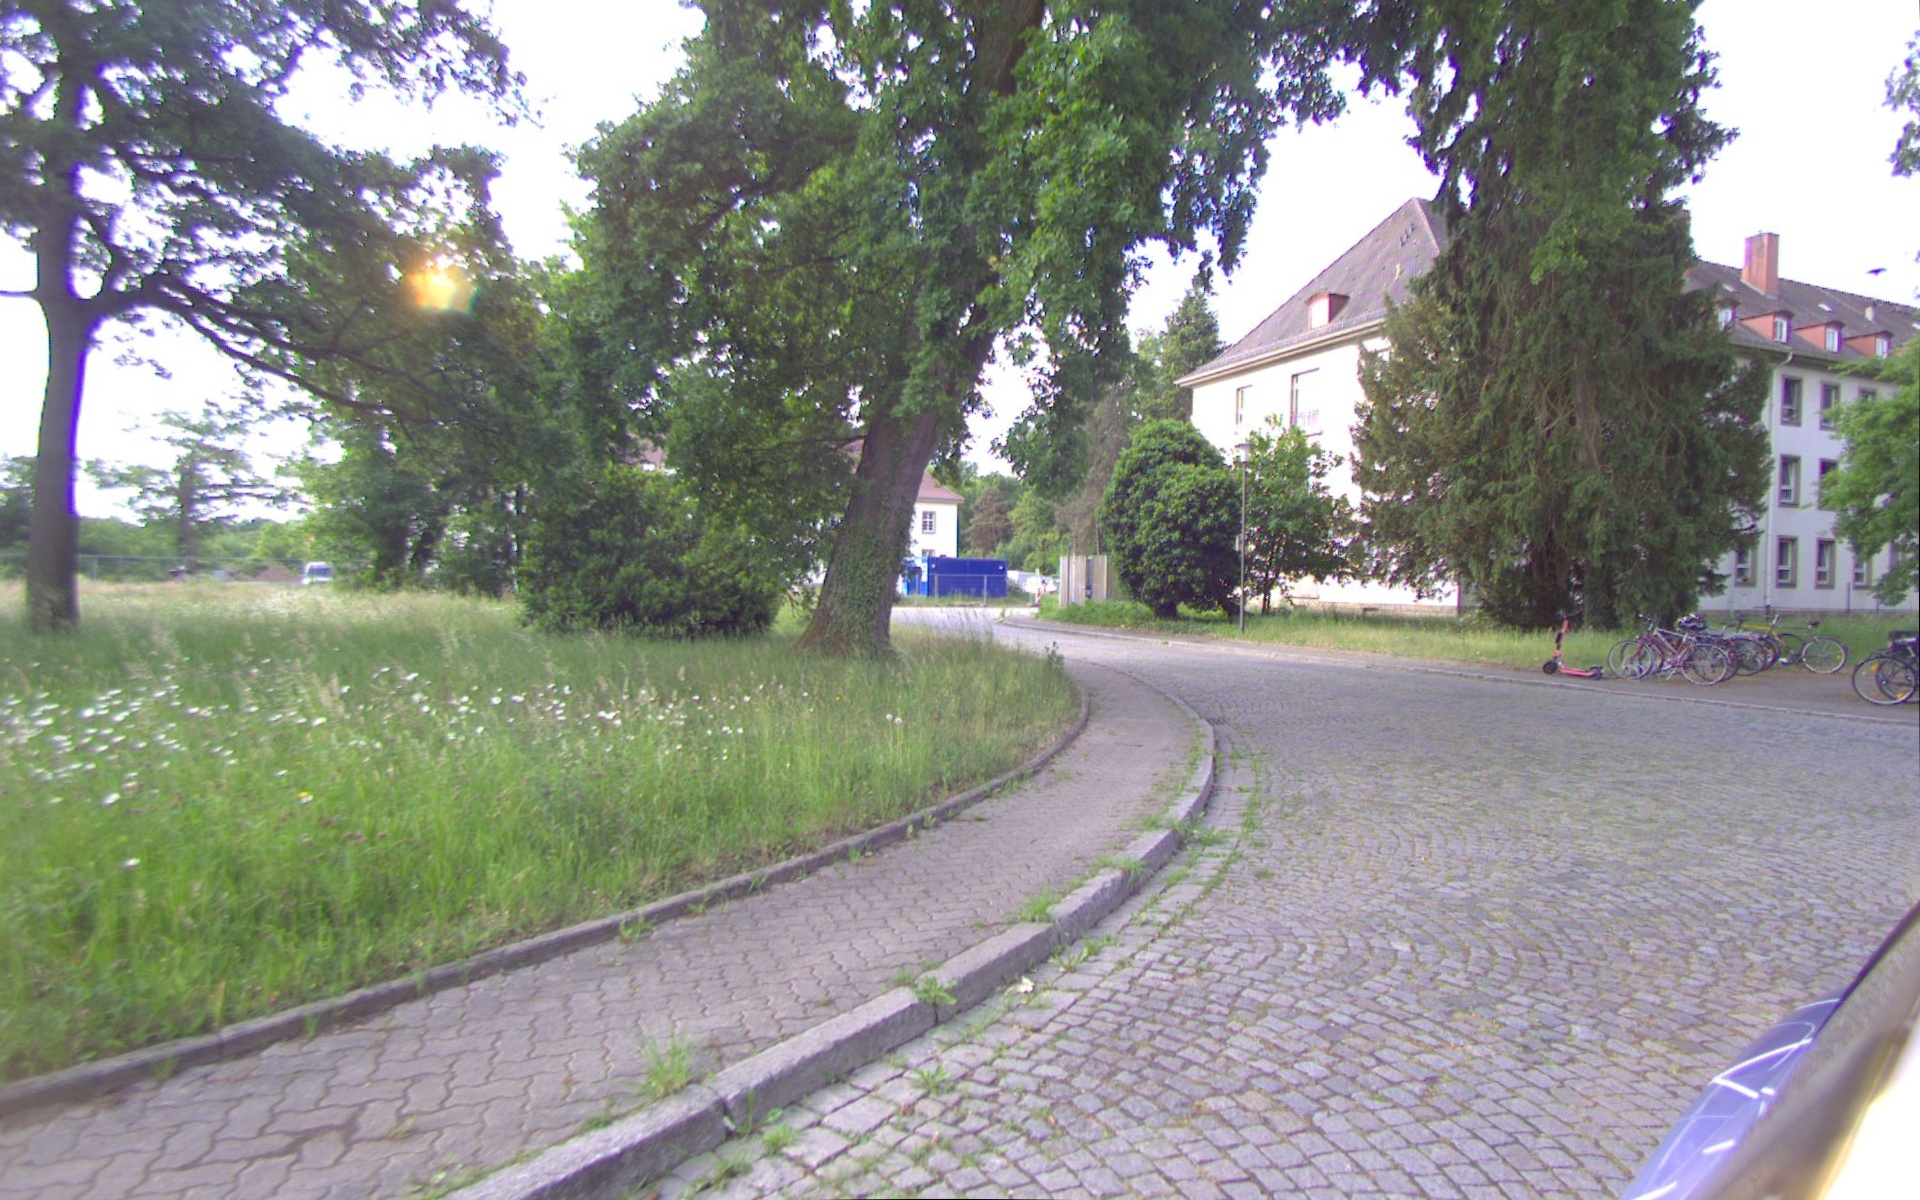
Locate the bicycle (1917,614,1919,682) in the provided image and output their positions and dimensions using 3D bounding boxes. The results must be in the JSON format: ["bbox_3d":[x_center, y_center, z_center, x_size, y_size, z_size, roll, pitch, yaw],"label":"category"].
[{"bbox_3d":[16.601,0.815,16.164,0.511,1.101,1.862,-3,4,-43],"label":"bicycle"}]

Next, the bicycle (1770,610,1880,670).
[{"bbox_3d":[16.580,0.743,19.422,1.561,1.047,0.469,2,2,44],"label":"bicycle"}]

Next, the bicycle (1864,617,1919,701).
[{"bbox_3d":[13.670,0.845,13.753,0.471,1.101,2.013,-3,4,-43],"label":"bicycle"}]

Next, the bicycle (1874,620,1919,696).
[{"bbox_3d":[14.064,0.848,14.034,0.471,1.022,2.013,-3,4,-43],"label":"bicycle"}]

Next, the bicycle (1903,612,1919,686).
[{"bbox_3d":[15.447,0.789,15.077,0.471,1.101,2.013,-3,4,-43],"label":"bicycle"}]

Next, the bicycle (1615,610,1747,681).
[{"bbox_3d":[12.447,0.760,17.517,1.806,1.101,0.472,2,4,41],"label":"bicycle"}]

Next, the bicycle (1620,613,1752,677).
[{"bbox_3d":[12.846,0.775,17.940,1.849,1.002,0.449,2,2,41],"label":"bicycle"}]

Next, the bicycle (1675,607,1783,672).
[{"bbox_3d":[14.287,0.716,18.849,1.558,1.101,0.555,2,2,38],"label":"bicycle"}]

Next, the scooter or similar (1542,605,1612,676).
[{"bbox_3d":[11.241,0.721,18.464,0.377,1.209,1.066,1,1,-19],"label":"scooter or similar"}]

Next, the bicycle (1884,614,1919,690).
[{"bbox_3d":[14.894,0.805,14.778,0.471,1.101,2.013,-3,4,-43],"label":"bicycle"}]
